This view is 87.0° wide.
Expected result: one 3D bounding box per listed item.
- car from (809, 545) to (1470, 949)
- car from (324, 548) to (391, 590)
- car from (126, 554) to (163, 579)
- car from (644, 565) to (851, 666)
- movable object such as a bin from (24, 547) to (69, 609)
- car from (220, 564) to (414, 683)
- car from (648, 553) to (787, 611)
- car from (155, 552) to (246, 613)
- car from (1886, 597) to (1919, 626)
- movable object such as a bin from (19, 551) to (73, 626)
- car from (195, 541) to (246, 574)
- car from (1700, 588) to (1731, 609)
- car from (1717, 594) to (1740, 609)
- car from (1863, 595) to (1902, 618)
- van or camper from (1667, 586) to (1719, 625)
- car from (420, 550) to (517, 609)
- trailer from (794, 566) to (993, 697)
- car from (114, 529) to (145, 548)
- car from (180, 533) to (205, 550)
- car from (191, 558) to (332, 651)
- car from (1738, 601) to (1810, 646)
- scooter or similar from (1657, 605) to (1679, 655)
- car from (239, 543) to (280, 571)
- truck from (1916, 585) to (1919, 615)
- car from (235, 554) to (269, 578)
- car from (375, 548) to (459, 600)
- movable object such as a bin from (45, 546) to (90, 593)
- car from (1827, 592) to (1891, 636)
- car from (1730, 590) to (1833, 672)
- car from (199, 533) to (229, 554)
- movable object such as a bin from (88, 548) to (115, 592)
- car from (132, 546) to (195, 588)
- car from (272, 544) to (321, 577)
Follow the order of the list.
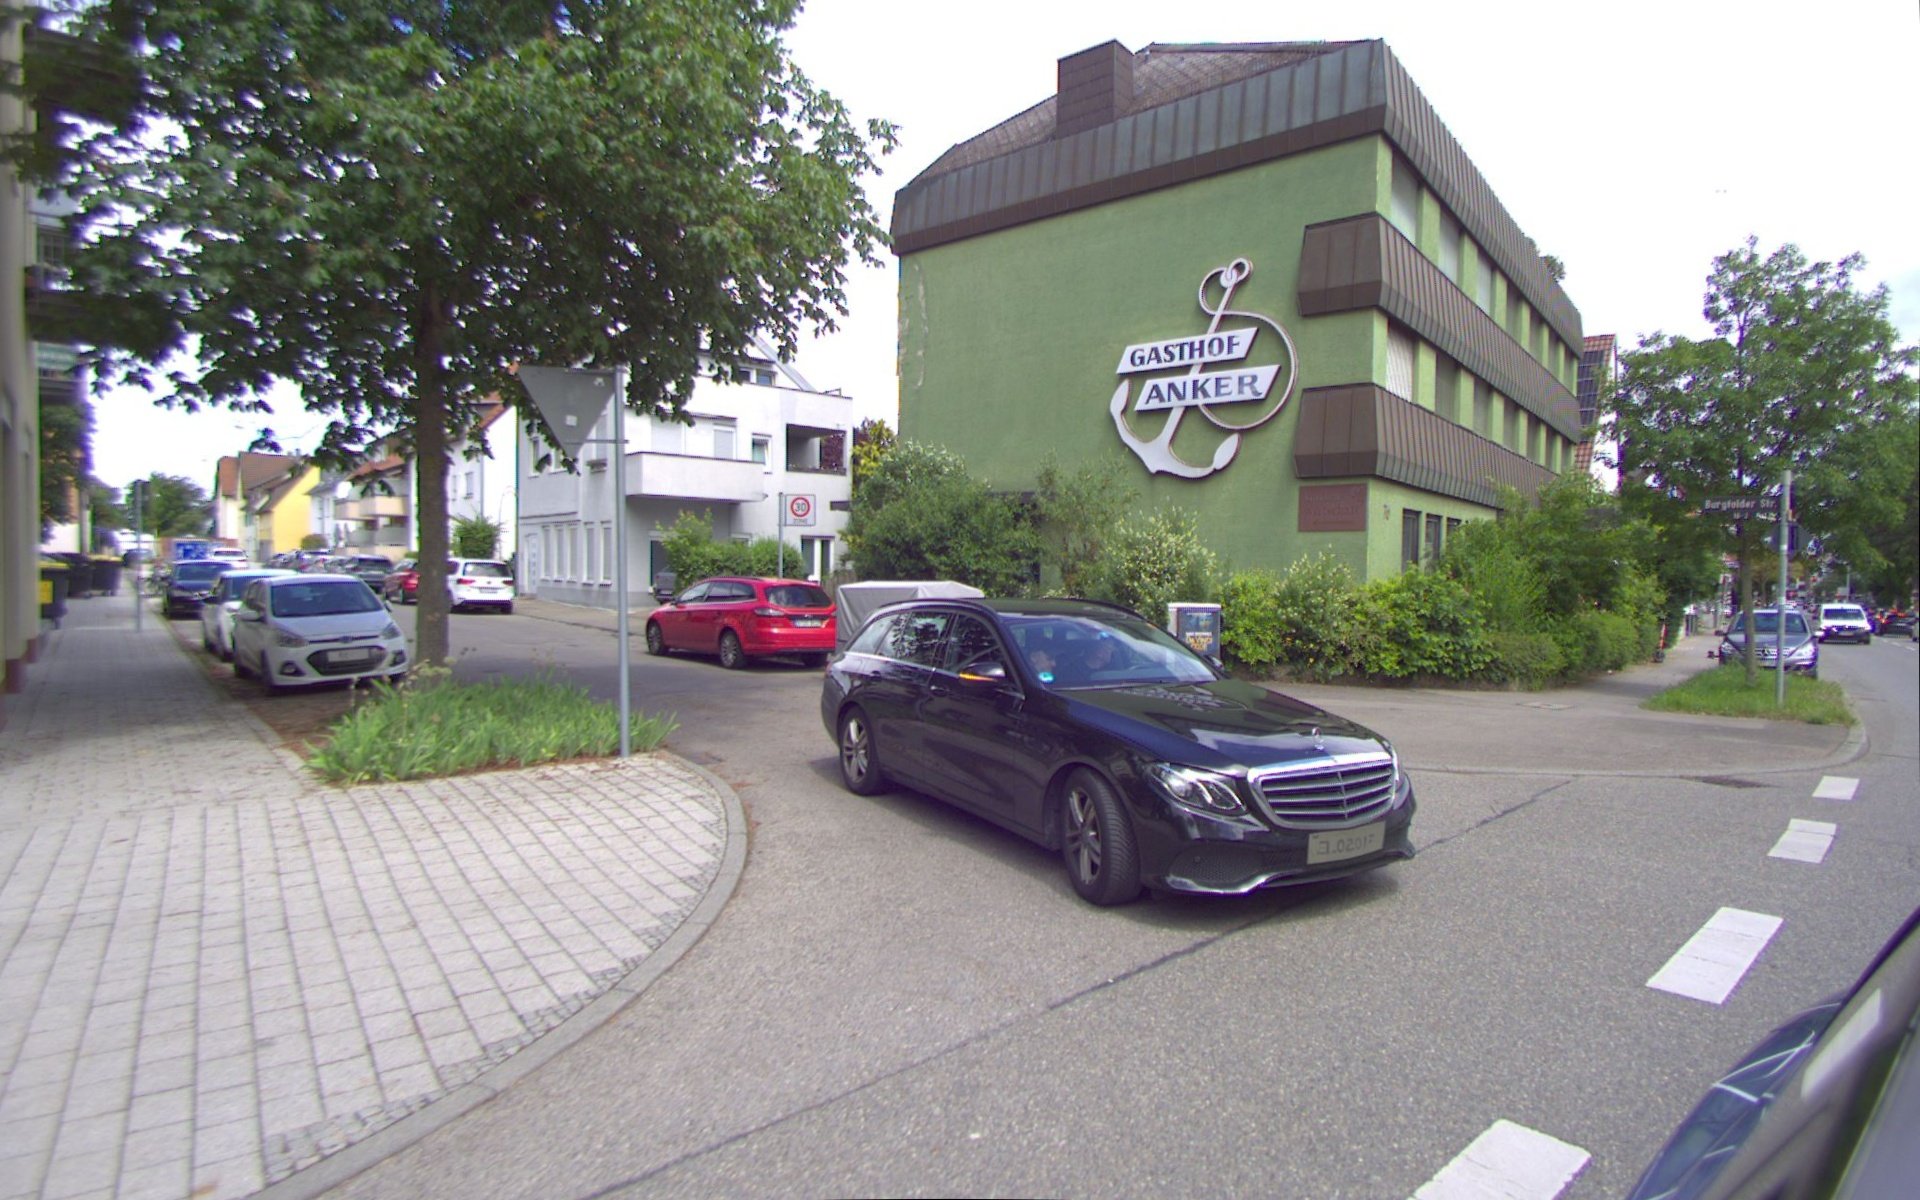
[{"bbox_3d":[0.633,0.568,6.630,1.773,1.649,4.693,0,1,-28],"label":"car"},{"bbox_3d":[-25.101,-1.323,42.096,1.702,1.627,3.975,-1,3,-41],"label":"car"},{"bbox_3d":[-50.984,-2.108,63.235,1.552,1.463,3.598,-1,3,-43],"label":"car"},{"bbox_3d":[-3.836,0.166,17.742,1.702,1.463,4.250,-1,3,-41],"label":"car"},{"bbox_3d":[-21.567,-0.522,23.898,0.757,1.438,0.597,-1,1,-41],"label":"movable object such as a bin"},{"bbox_3d":[-9.184,0.254,14.348,1.703,1.464,3.598,-1,1,-43],"label":"car"},{"bbox_3d":[-7.128,-0.554,29.903,3.624,1.551,1.626,-1,5,-39],"label":"car"},{"bbox_3d":[-19.897,-0.492,26.473,1.552,1.463,3.598,-1,3,-43],"label":"car"},{"bbox_3d":[54.445,0.653,57.726,1.826,1.542,4.118,2,2,35],"label":"car"},{"bbox_3d":[-17.892,-0.223,19.825,0.757,1.438,0.597,-1,1,-41],"label":"movable object such as a bin"},{"bbox_3d":[-39.103,-2.217,53.511,1.820,1.613,3.665,-1,1,-42],"label":"car"},{"bbox_3d":[65.159,-0.150,87.237,1.617,1.614,4.096,10,7,42],"label":"car"},{"bbox_3d":[80.313,0.138,105.834,1.780,1.332,4.423,3,3,36],"label":"car"},{"bbox_3d":[70.537,0.505,77.439,1.863,1.638,4.471,3,2,39],"label":"car"},{"bbox_3d":[41.008,0.275,56.602,1.866,2.057,4.478,1,1,43],"label":"van or camper"},{"bbox_3d":[-15.100,-0.673,30.982,1.702,1.627,3.975,-1,3,-41],"label":"car"},{"bbox_3d":[-1.060,0.376,14.822,1.367,1.601,3.169,1,2,-37],"label":"trailer"},{"bbox_3d":[-65.326,-4.820,79.594,1.693,1.463,3.600,-1,3,-42],"label":"car"},{"bbox_3d":[-84.401,-6.427,111.274,1.820,1.777,3.665,-1,1,-42],"label":"car"},{"bbox_3d":[-12.403,0.036,17.883,1.552,1.464,3.598,-1,1,-43],"label":"car"},{"bbox_3d":[30.988,0.851,38.543,1.981,1.466,4.685,3,2,39],"label":"car"},{"bbox_3d":[19.564,0.814,27.958,0.300,1.321,1.384,5,3,39],"label":"scooter or similar"},{"bbox_3d":[-44.098,-2.718,63.681,1.702,1.627,3.975,-1,3,-41],"label":"car"},{"bbox_3d":[79.252,0.015,81.917,2.303,2.450,6.005,1,1,40],"label":"truck"},{"bbox_3d":[-52.290,-2.532,74.677,1.701,1.627,3.977,-1,3,-40],"label":"car"},{"bbox_3d":[-18.659,-0.924,34.712,1.702,1.627,3.975,-1,3,-41],"label":"car"},{"bbox_3d":[-27.801,-0.946,31.546,1.039,1.438,0.597,-1,1,-41],"label":"movable object such as a bin"},{"bbox_3d":[40.926,0.579,46.155,1.957,1.829,4.367,0,1,39],"label":"car"},{"bbox_3d":[19.273,0.690,23.668,1.688,1.687,4.395,3,1,41],"label":"car"},{"bbox_3d":[-67.806,-5.112,92.004,1.820,1.777,3.665,-1,1,-42],"label":"car"},{"bbox_3d":[-28.480,-1.001,33.563,0.670,1.438,0.597,-1,1,-41],"label":"movable object such as a bin"},{"bbox_3d":[-29.653,-1.243,37.644,1.552,1.463,3.598,-1,3,-43],"label":"car"},{"bbox_3d":[-34.773,-2.076,52.991,1.701,1.627,3.977,-1,3,-40],"label":"car"}]
